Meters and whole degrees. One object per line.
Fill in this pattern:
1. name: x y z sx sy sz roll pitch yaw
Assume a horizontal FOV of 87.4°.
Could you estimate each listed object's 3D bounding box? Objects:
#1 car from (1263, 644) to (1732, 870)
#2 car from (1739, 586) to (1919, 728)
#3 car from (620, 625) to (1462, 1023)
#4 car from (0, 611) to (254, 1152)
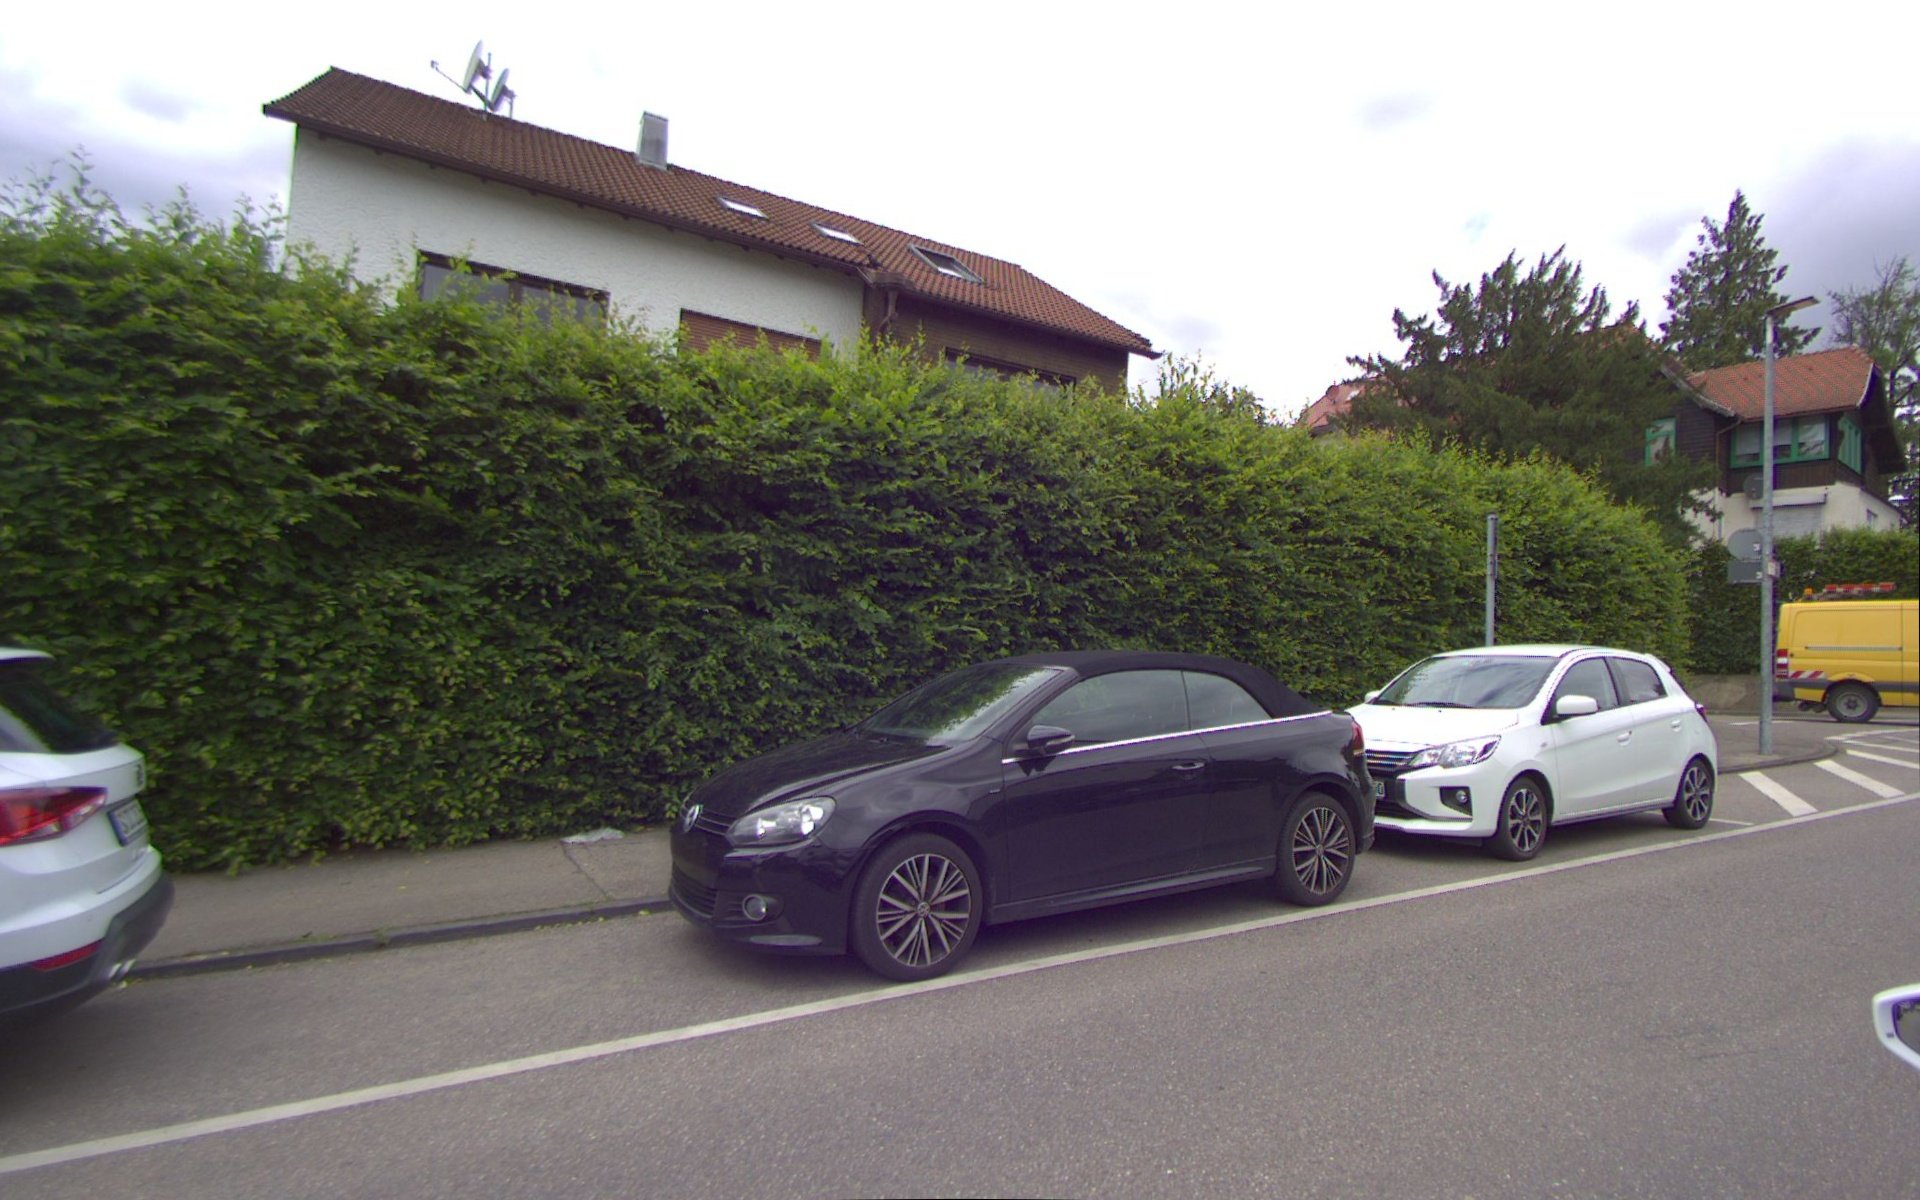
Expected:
1. car: 4.361 1.108 8.095 3.537 1.437 1.682 1 -5 -30
2. car: 18.903 1.080 19.302 6.054 2.635 2.356 -2 -3 41
3. car: 0.629 0.998 5.823 4.684 1.508 1.774 2 -6 -30
4. car: -4.664 0.789 2.735 4.291 1.509 1.877 1 -3 -30
